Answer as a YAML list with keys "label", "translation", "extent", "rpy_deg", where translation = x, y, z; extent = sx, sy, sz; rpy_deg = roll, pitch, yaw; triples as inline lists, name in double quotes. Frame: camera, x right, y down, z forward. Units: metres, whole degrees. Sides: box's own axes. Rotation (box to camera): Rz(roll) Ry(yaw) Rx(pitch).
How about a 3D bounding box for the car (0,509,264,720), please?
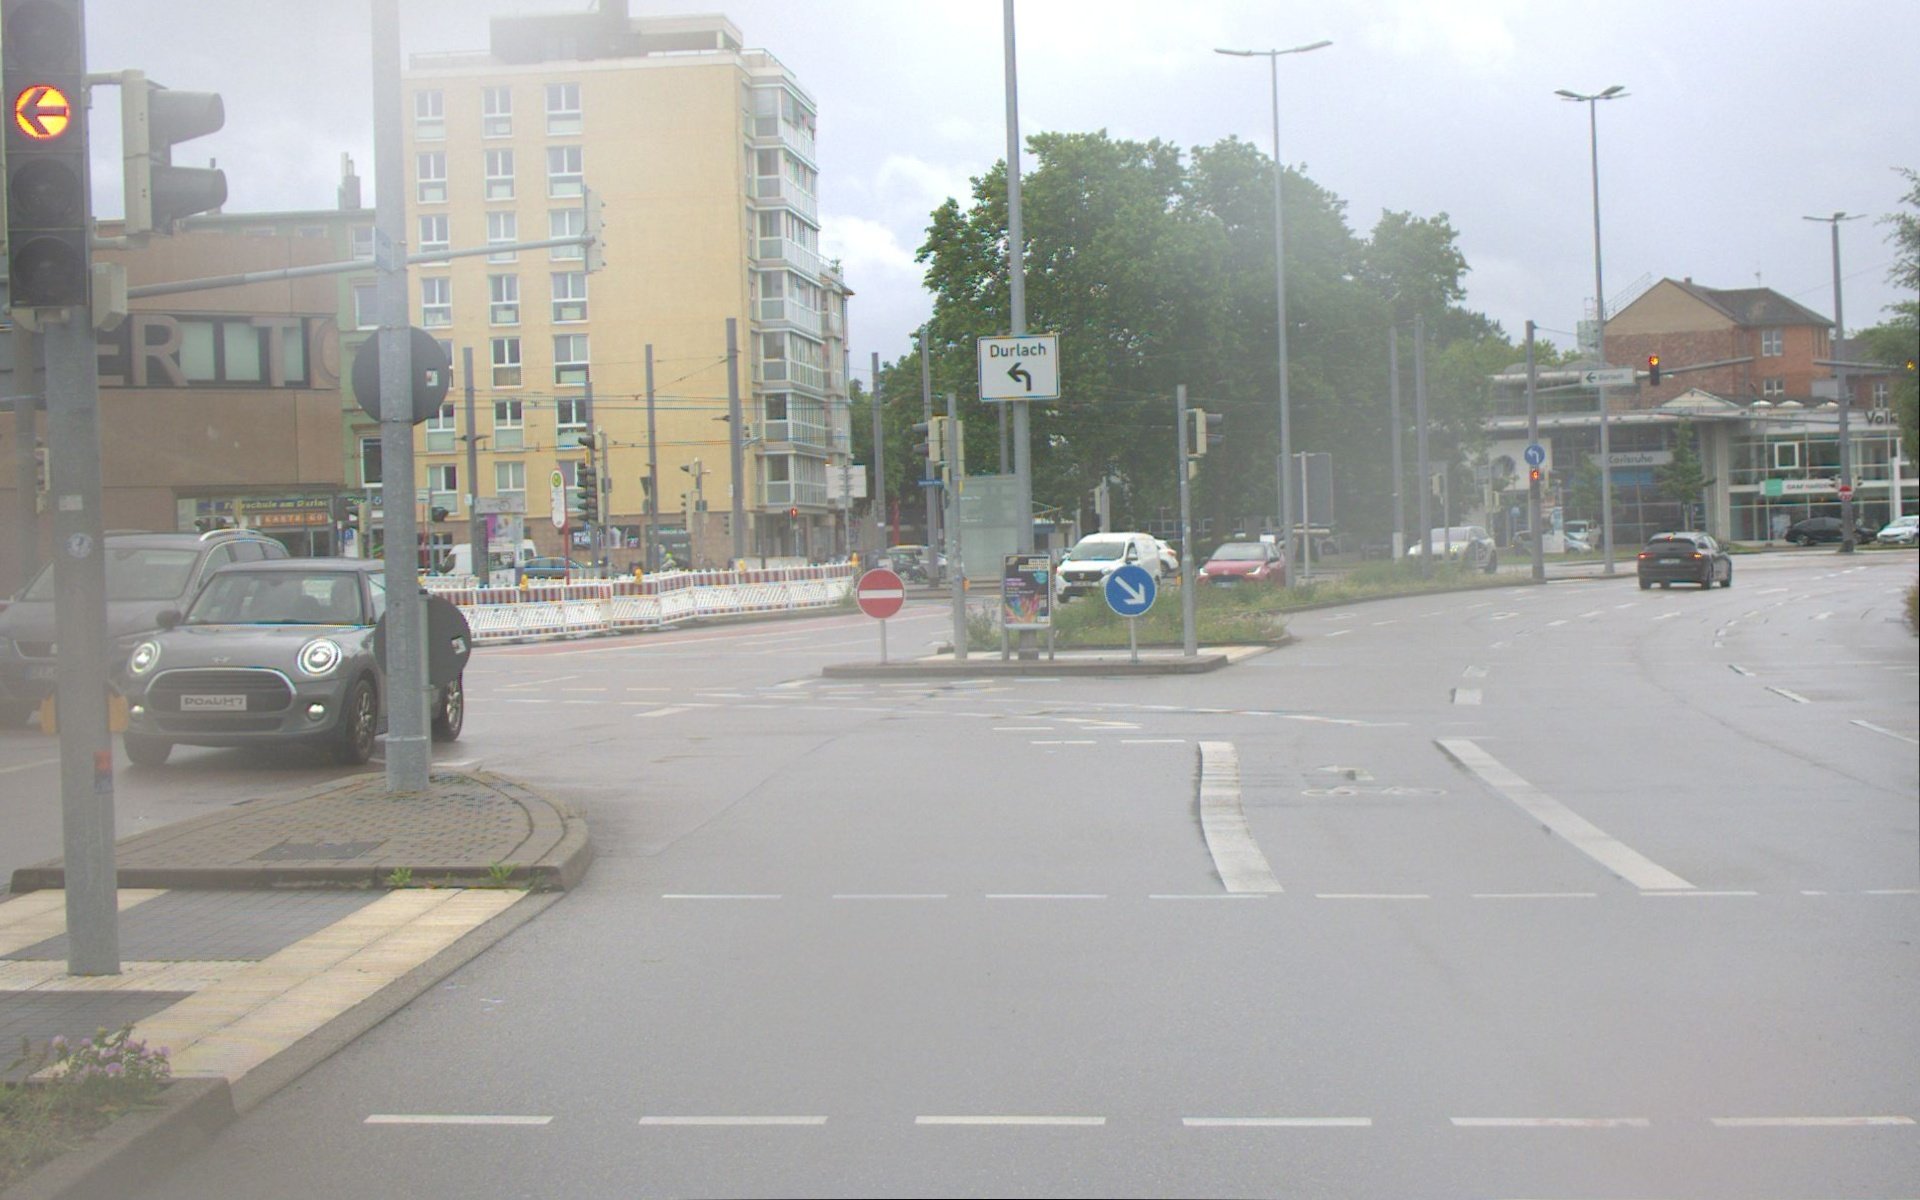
- label: "car"
  translation: [-7.794, 0.075, 31.527]
  extent: [1.772, 1.672, 4.769]
  rpy_deg: [-4, 2, 0]

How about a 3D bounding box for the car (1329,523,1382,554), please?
- label: "car"
  translation: [21.992, -3.442, 190.964]
  extent: [1.792, 1.637, 4.154]
  rpy_deg: [-1, 1, 23]

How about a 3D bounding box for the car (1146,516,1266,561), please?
- label: "car"
  translation: [9.515, -2.393, 133.325]
  extent: [4.381, 1.637, 1.796]
  rpy_deg: [-2, 1, -5]

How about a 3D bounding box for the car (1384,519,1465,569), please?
- label: "car"
  translation: [15.969, -1.932, 118.020]
  extent: [1.792, 1.637, 4.155]
  rpy_deg: [-1, 1, 21]

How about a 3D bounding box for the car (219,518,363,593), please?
- label: "car"
  translation: [-27.635, -1.850, 142.101]
  extent: [5.351, 2.877, 2.339]
  rpy_deg: [-2, 1, 2]

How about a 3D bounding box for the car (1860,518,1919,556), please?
- label: "car"
  translation: [43.375, -2.932, 158.708]
  extent: [1.794, 1.637, 4.149]
  rpy_deg: [-1, 2, 42]

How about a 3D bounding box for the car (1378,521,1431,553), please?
- label: "car"
  translation: [24.564, -3.495, 189.975]
  extent: [1.792, 1.637, 4.154]
  rpy_deg: [-1, 1, 23]

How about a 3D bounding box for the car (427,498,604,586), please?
- label: "car"
  translation: [-18.265, -2.410, 141.460]
  extent: [6.742, 3.368, 2.809]
  rpy_deg: [-2, 1, 2]

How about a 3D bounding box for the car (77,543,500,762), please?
- label: "car"
  translation: [-4.884, 0.331, 25.611]
  extent: [1.772, 1.371, 4.119]
  rpy_deg: [-1, 2, 9]

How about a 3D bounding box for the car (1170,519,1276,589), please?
- label: "car"
  translation: [6.553, -1.164, 85.329]
  extent: [1.791, 1.637, 4.043]
  rpy_deg: [-1, 1, 16]

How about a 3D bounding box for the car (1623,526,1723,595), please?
- label: "car"
  translation: [18.034, -1.022, 86.825]
  extent: [1.792, 1.637, 4.155]
  rpy_deg: [-1, 1, 21]

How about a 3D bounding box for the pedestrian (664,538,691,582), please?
- label: "pedestrian"
  translation: [-11.914, -1.699, 145.034]
  extent: [1.092, 1.807, 1.119]
  rpy_deg: [-2, 1, -4]

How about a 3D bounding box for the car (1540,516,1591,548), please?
- label: "car"
  translation: [32.884, -3.683, 186.495]
  extent: [1.792, 1.637, 4.154]
  rpy_deg: [-1, 1, 23]

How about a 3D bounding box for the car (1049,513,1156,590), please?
- label: "car"
  translation: [3.654, -1.252, 87.454]
  extent: [1.791, 1.852, 4.156]
  rpy_deg: [-1, 1, 15]
